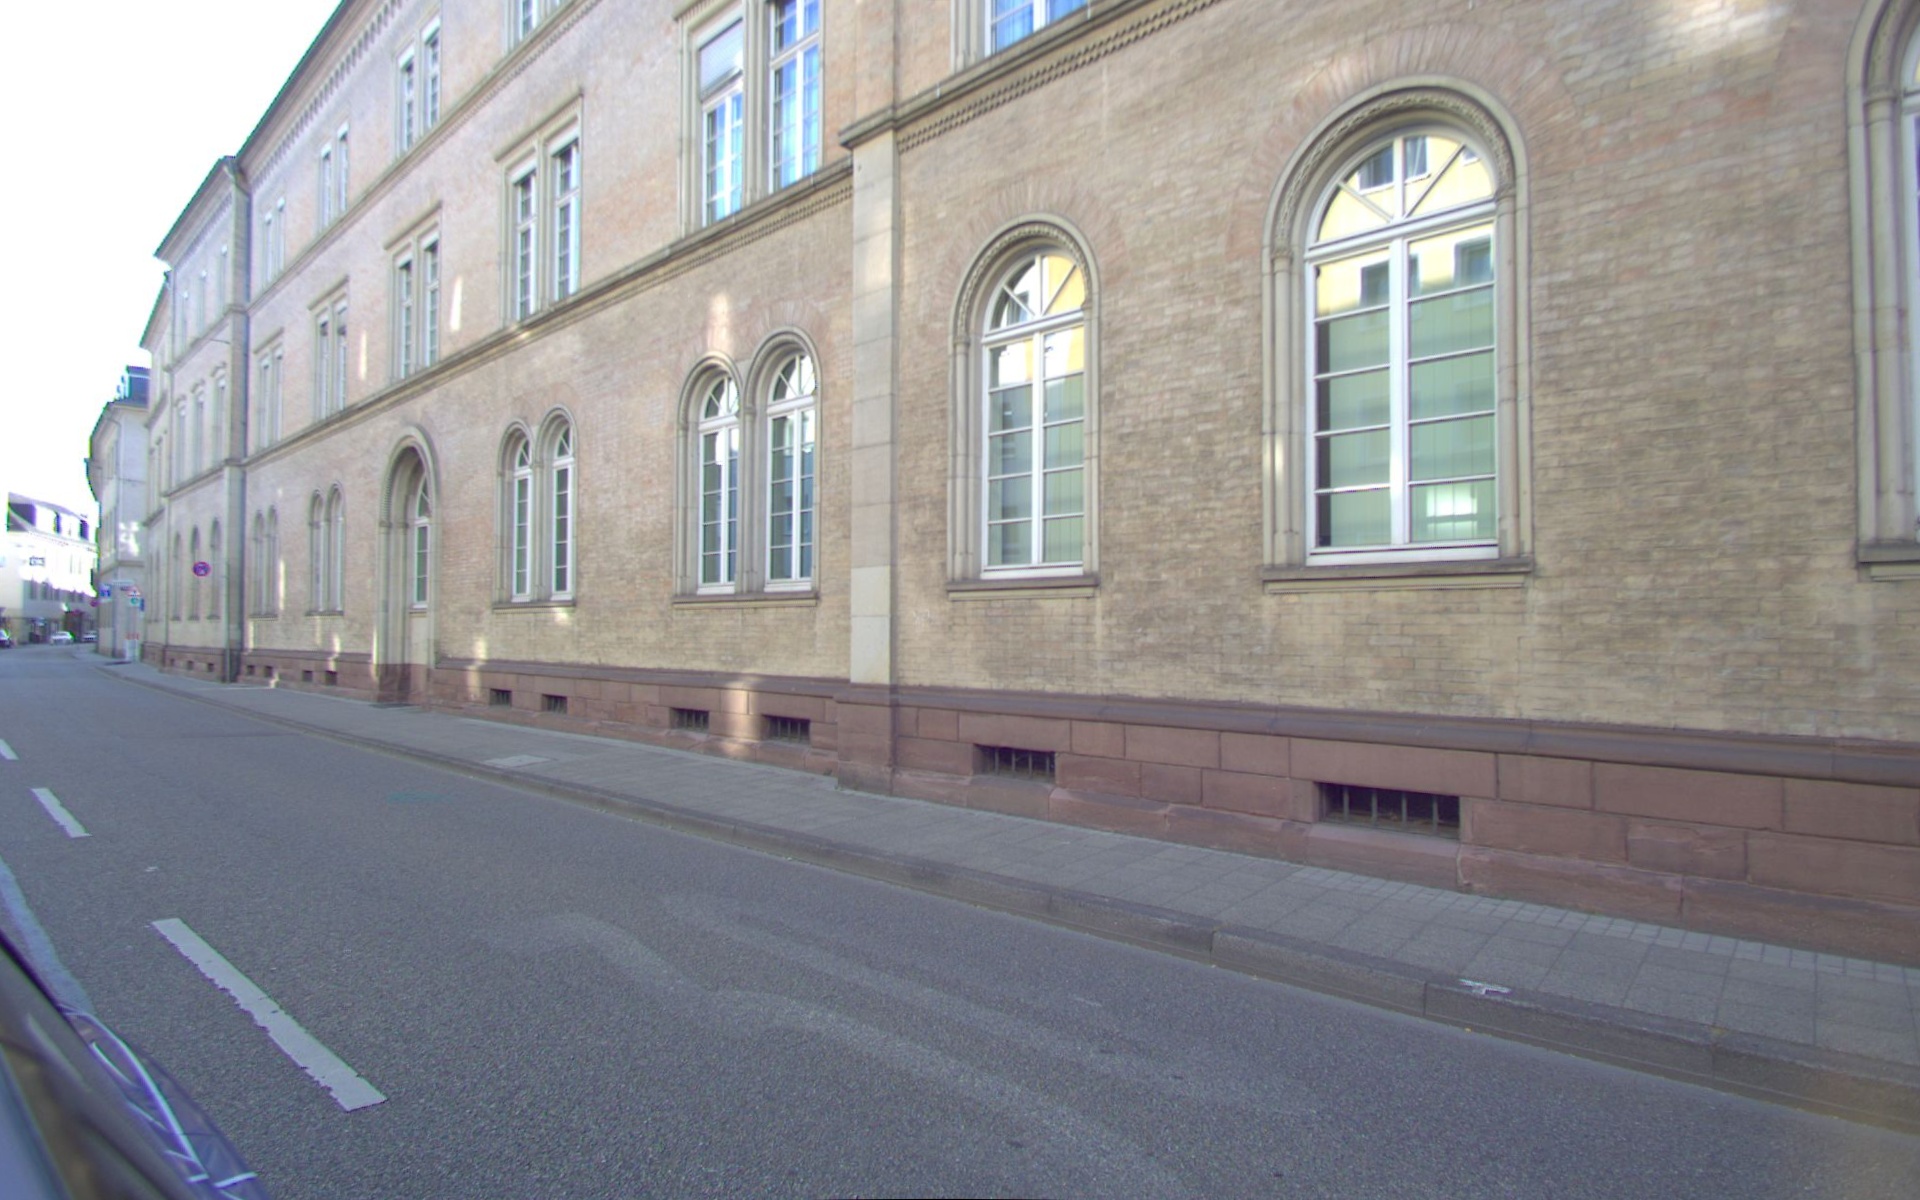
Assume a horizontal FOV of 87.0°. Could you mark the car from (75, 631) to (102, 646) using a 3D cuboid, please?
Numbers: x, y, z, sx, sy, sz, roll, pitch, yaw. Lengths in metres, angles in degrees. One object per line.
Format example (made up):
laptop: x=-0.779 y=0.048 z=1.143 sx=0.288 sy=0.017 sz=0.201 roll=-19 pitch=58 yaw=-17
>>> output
car: x=-109.229 y=4.803 z=126.829 sx=1.966 sy=1.665 sz=4.240 roll=-1 pitch=0 yaw=-33

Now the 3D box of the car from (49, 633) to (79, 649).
car: x=-102.856 y=4.722 z=116.177 sx=1.966 sy=1.665 sz=4.240 roll=-1 pitch=0 yaw=-33

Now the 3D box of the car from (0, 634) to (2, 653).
car: x=-86.614 y=3.922 z=89.952 sx=1.969 sy=1.665 sz=4.235 roll=-1 pitch=0 yaw=-41
